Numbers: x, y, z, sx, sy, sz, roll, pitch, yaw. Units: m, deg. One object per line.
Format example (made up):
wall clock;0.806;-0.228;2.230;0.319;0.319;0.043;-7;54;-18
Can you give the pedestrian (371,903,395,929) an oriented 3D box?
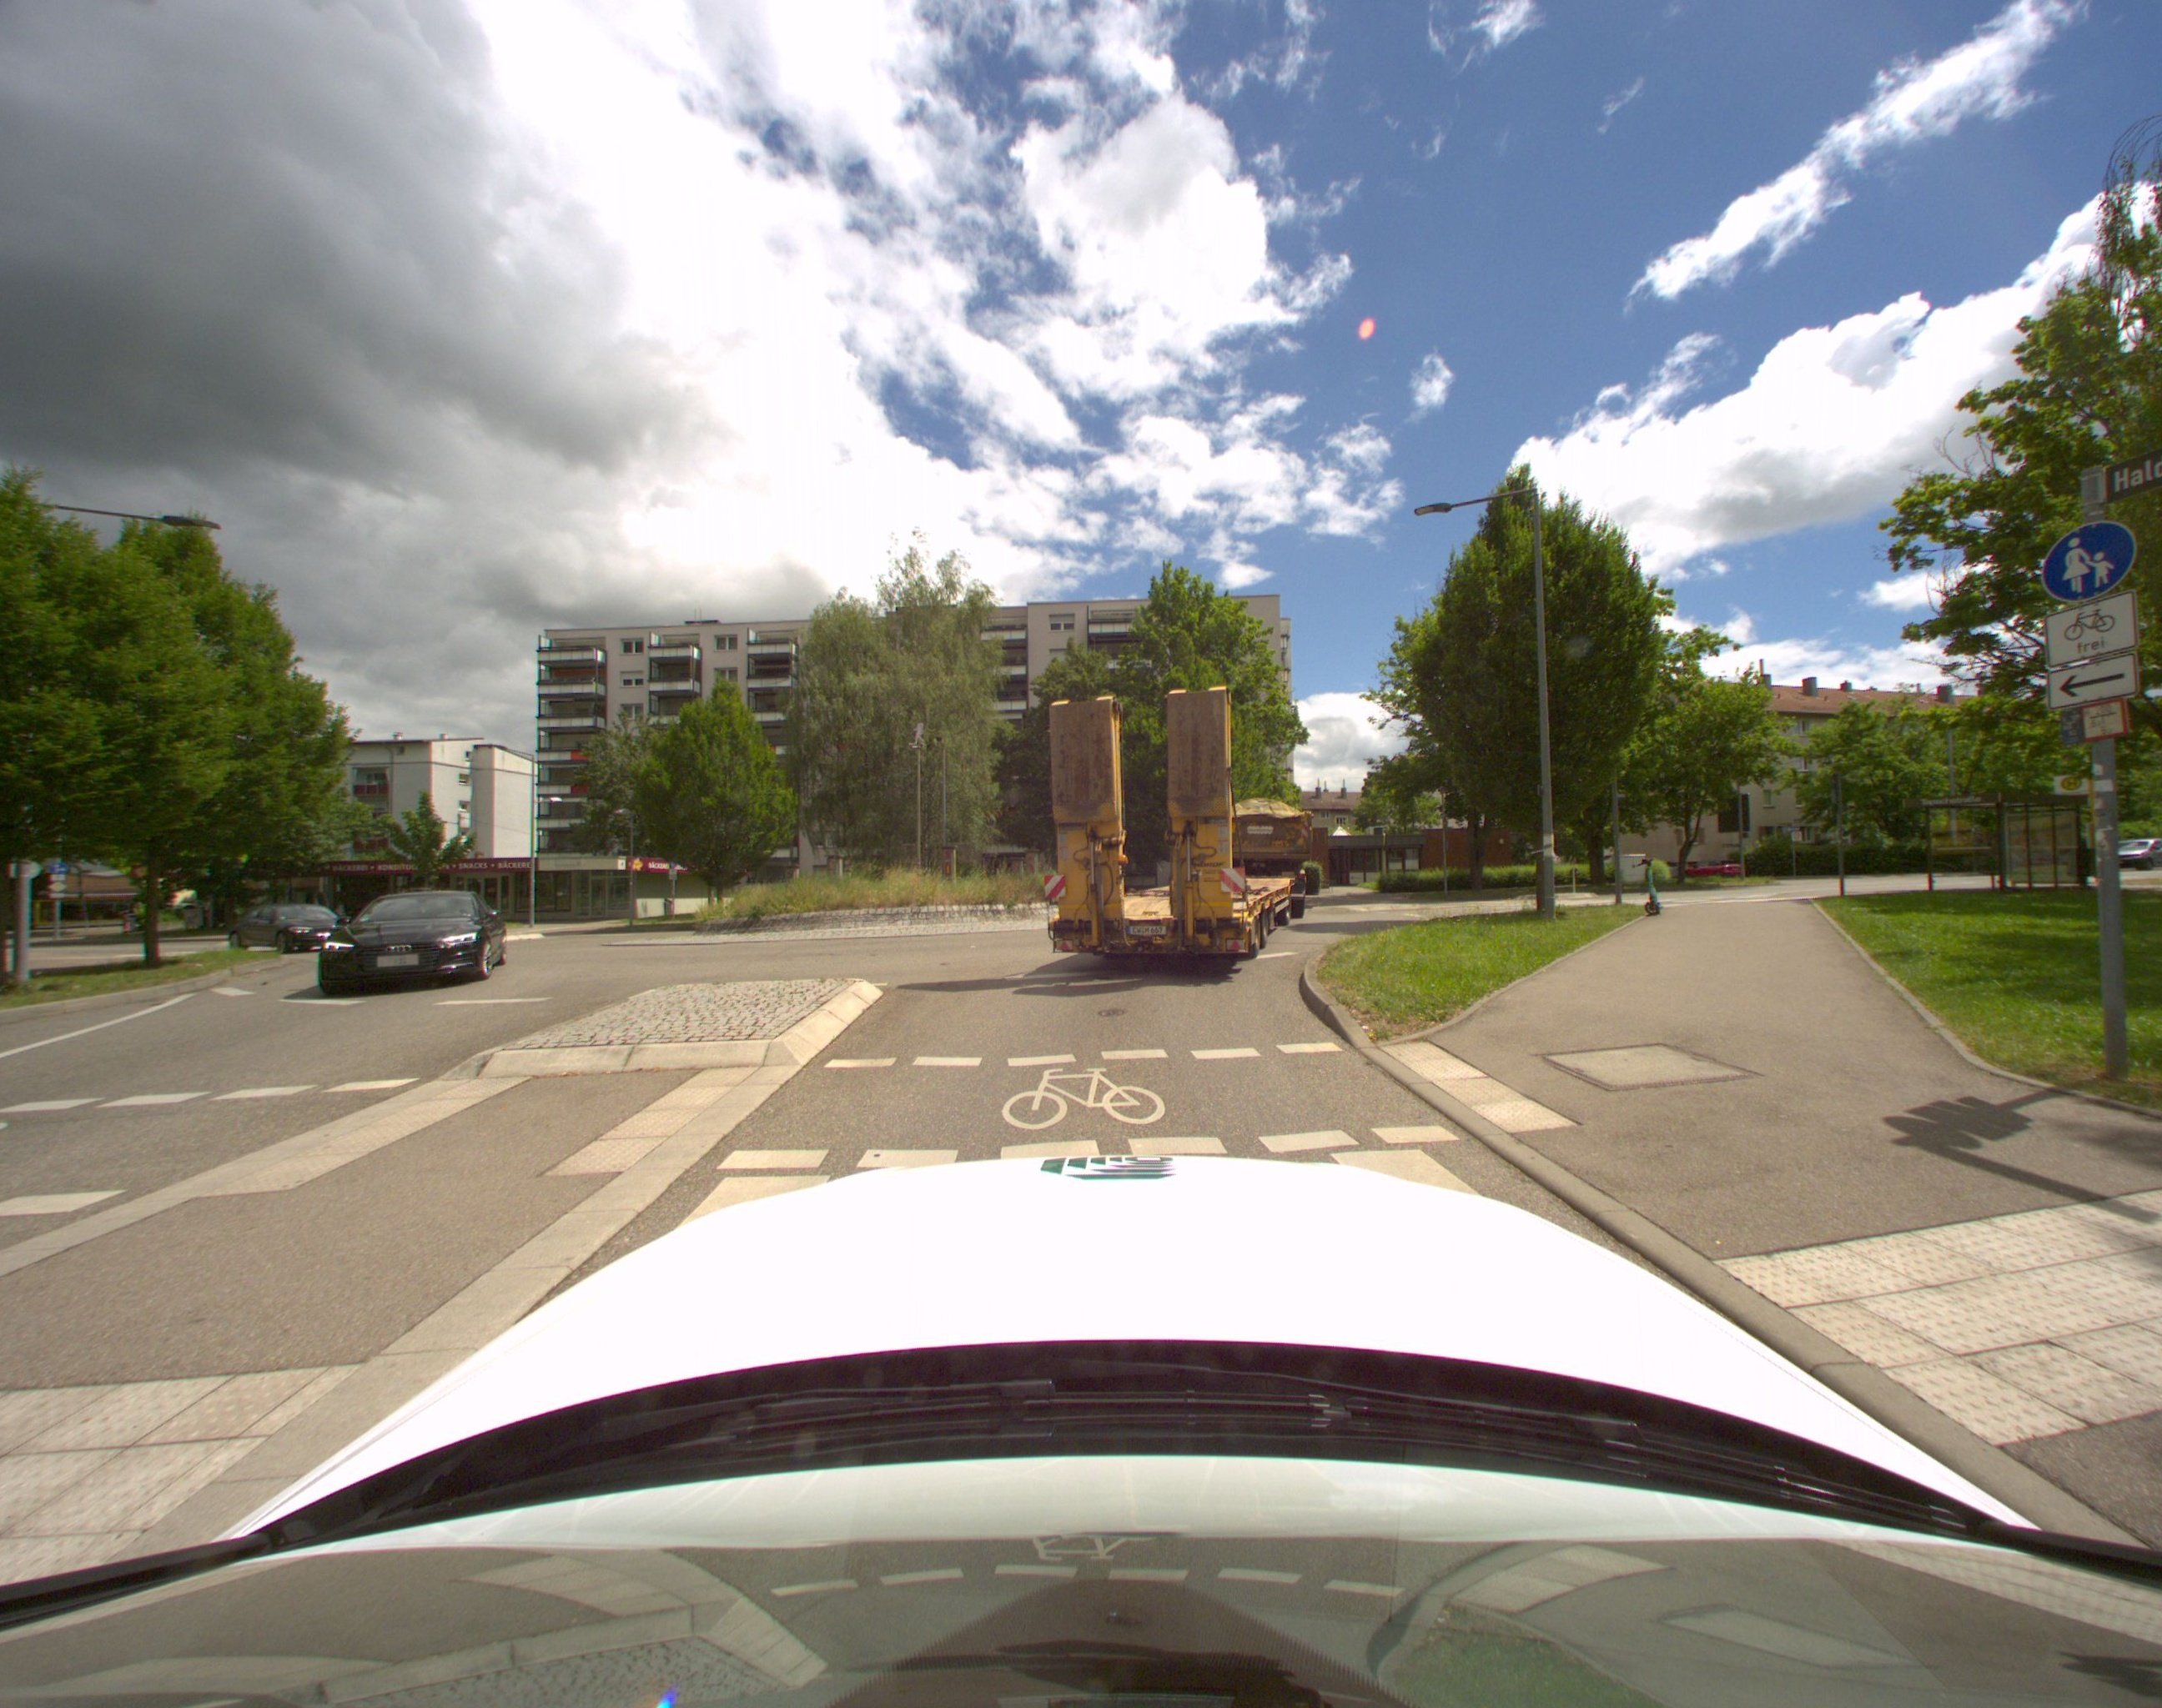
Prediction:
pedestrian;-39.376;3.485;45.926;0.692;1.381;0.722;-3;-2;10

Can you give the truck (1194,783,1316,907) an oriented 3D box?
truck;5.307;-0.242;24.414;2.967;3.034;8.517;0;0;13

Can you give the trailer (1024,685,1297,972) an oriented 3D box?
trailer;2.286;-0.255;15.154;2.841;3.372;10.889;0;-1;18

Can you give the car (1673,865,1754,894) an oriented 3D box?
car;42.925;1.724;55.391;2.013;1.942;3.984;0;-2;-11

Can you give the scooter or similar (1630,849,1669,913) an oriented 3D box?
scooter or similar;12.660;0.590;18.129;0.480;1.343;1.397;-4;-2;41

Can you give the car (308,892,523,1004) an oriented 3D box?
car;-10.455;1.349;13.183;1.828;1.384;4.575;-1;-2;-28

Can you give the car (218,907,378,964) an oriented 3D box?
car;-23.482;2.386;24.418;4.335;1.455;1.869;-1;-2;23

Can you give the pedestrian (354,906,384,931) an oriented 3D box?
pedestrian;-39.380;3.560;45.063;0.817;1.325;0.881;0;-2;3

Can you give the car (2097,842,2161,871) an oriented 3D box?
car;60.103;0.175;45.992;3.995;1.553;1.989;0;-2;-16
